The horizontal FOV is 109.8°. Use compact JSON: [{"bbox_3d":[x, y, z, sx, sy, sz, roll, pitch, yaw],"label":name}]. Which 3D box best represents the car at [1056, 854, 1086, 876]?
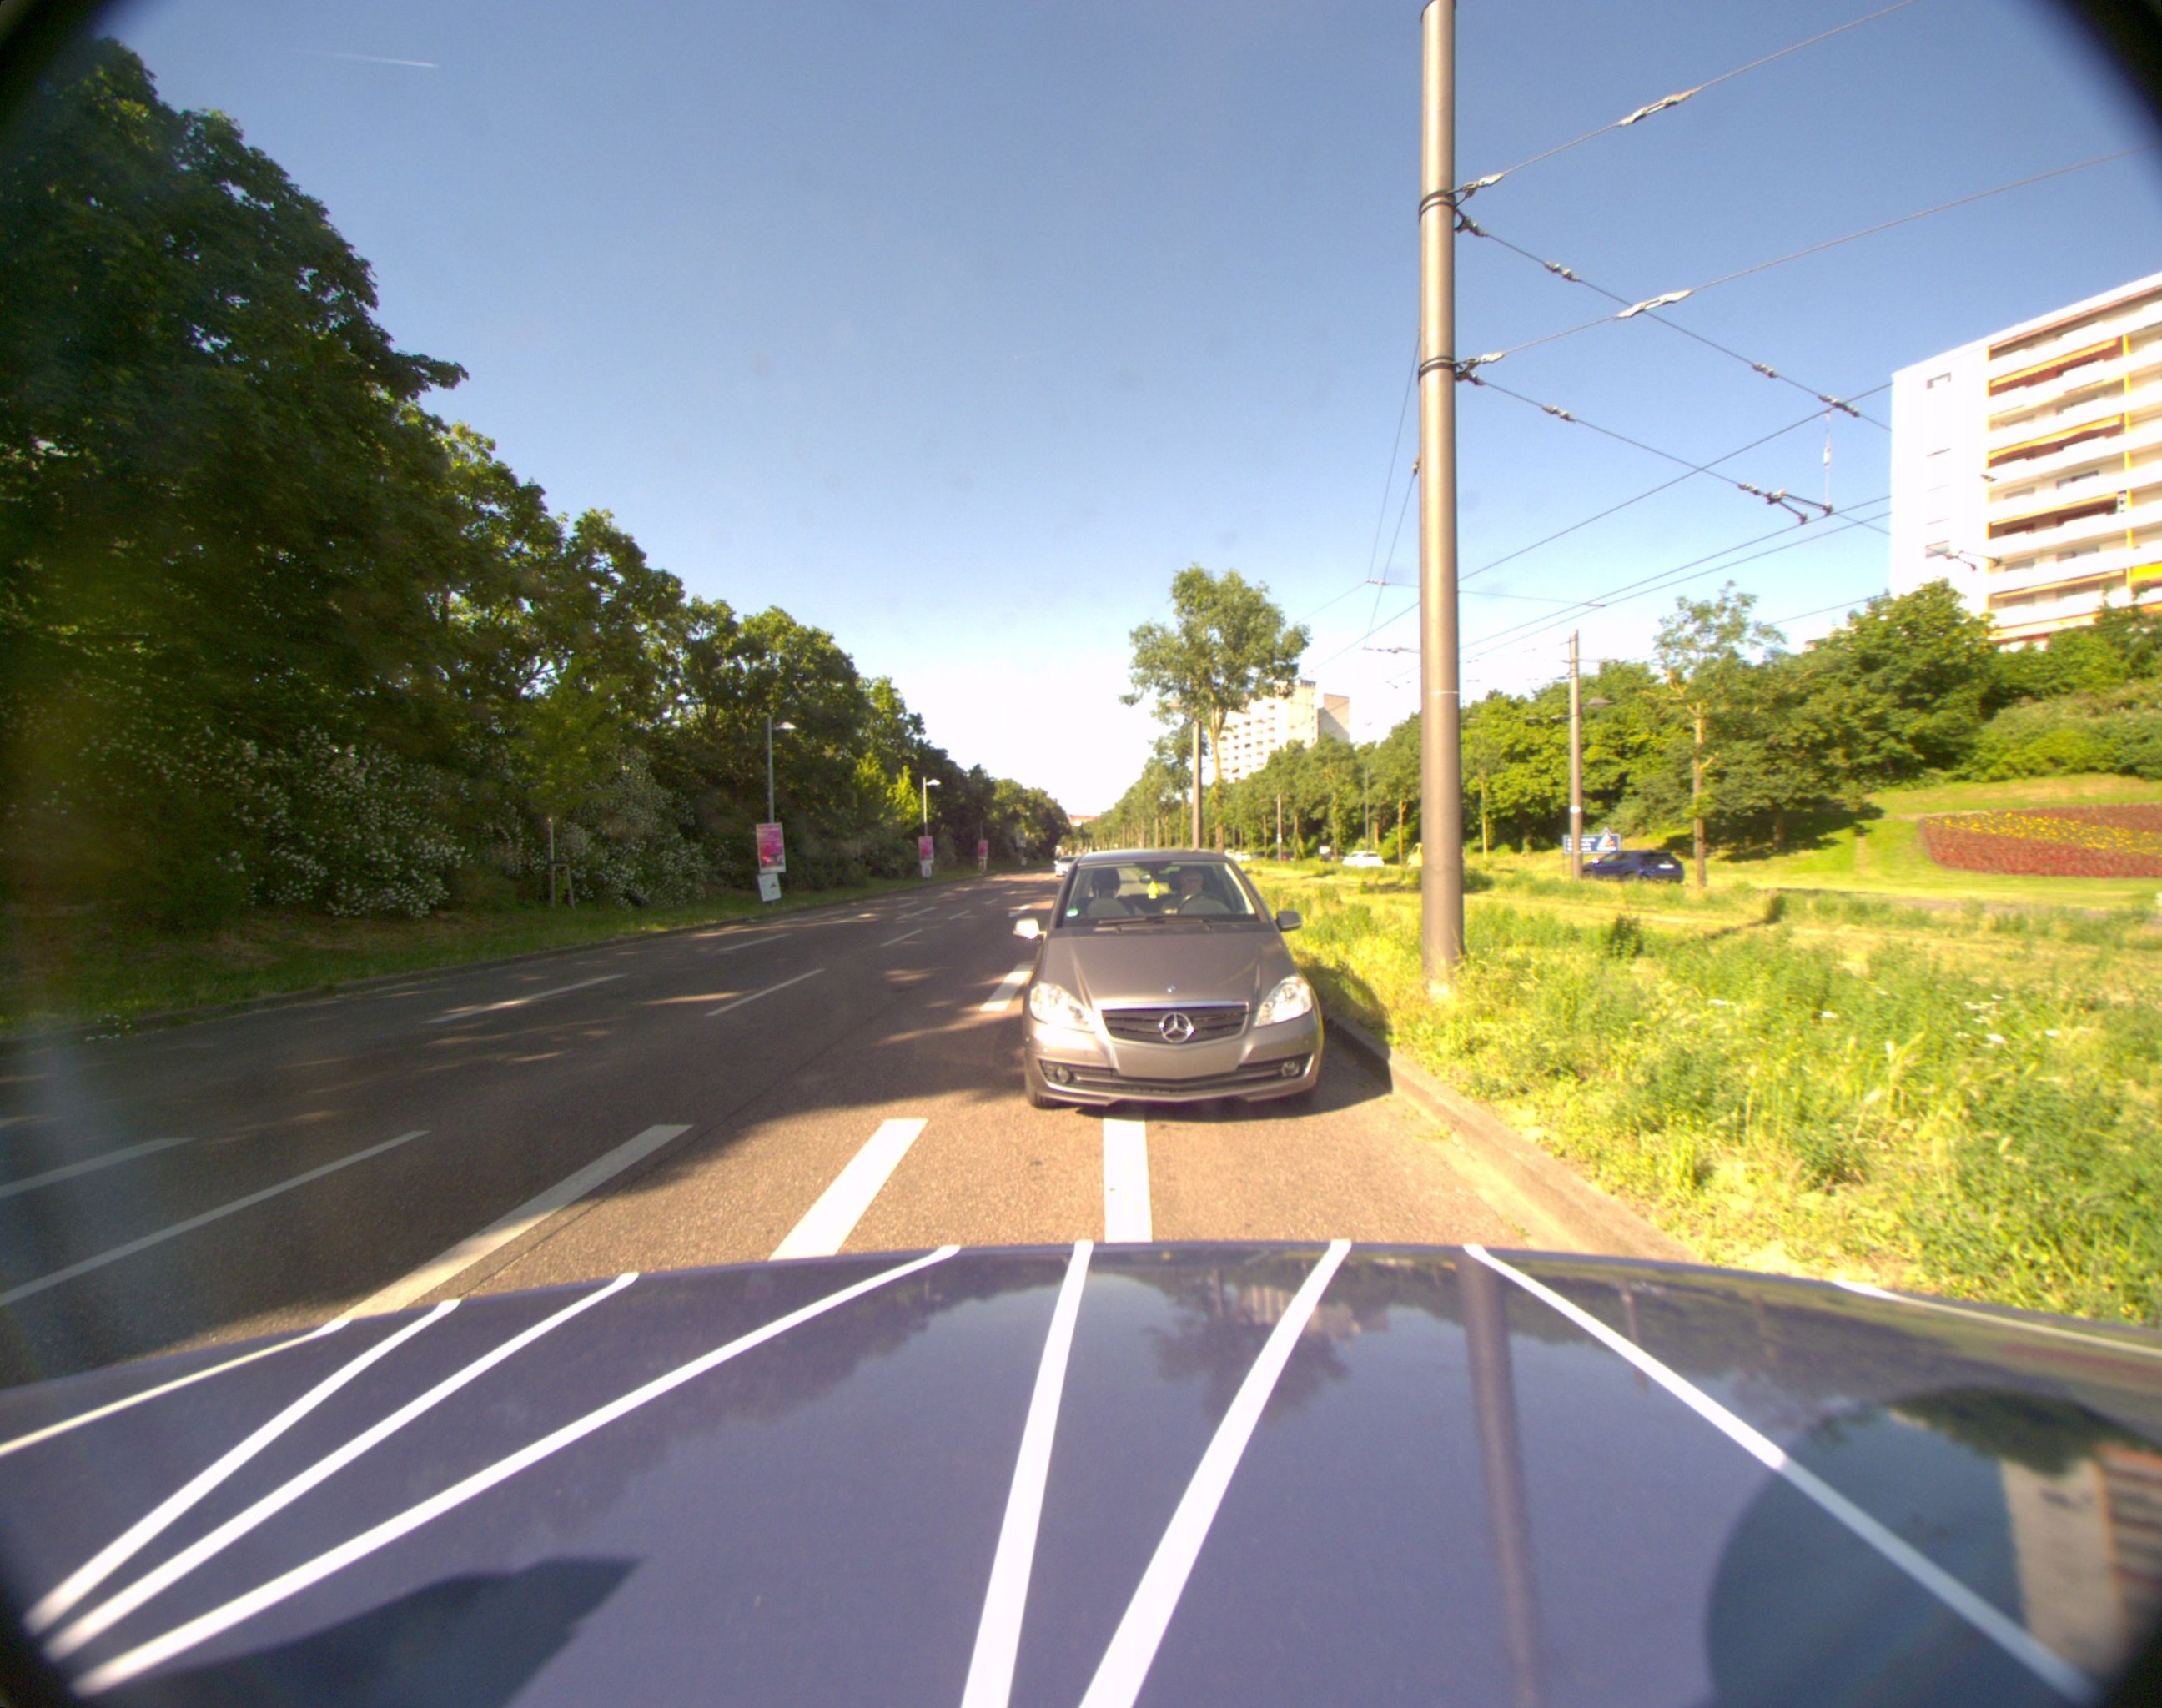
[{"bbox_3d":[-0.675,0.776,54.710,1.875,1.428,4.594,-1,0,2],"label":"car"}]

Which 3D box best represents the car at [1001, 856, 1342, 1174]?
[{"bbox_3d":[0.499,0.853,5.912,1.759,1.612,3.880,-1,0,1],"label":"car"}]

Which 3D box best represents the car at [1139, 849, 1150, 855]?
[{"bbox_3d":[16.400,-0.544,197.174,1.911,1.652,3.996,-1,0,-11],"label":"car"}]

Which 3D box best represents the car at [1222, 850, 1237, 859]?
[{"bbox_3d":[22.196,0.069,113.806,1.740,1.368,4.001,-1,0,4],"label":"car"}]

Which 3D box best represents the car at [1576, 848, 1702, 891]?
[{"bbox_3d":[21.990,0.566,30.173,1.998,1.565,4.107,-1,0,1],"label":"car"}]

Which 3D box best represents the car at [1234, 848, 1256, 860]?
[{"bbox_3d":[19.921,-0.019,92.393,1.867,1.410,4.000,-1,0,3],"label":"car"}]

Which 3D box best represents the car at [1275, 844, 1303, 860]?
[{"bbox_3d":[19.765,-0.210,72.346,1.798,1.408,4.312,-2,0,5],"label":"car"}]

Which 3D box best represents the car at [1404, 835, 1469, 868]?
[{"bbox_3d":[22.728,-0.137,48.810,1.998,1.955,4.907,1,0,1],"label":"car"}]

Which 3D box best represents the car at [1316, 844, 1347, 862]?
[{"bbox_3d":[22.776,-0.085,69.140,1.791,1.499,4.242,-1,0,6],"label":"car"}]

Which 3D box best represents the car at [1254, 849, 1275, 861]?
[{"bbox_3d":[22.541,0.094,93.453,1.867,1.410,4.000,-1,0,2],"label":"car"}]

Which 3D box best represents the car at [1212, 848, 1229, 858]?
[{"bbox_3d":[19.791,-0.116,107.877,1.825,1.353,4.230,-1,0,3],"label":"car"}]

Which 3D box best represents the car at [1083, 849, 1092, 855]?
[{"bbox_3d":[2.347,-0.601,257.903,1.944,2.002,3.994,-1,0,-17],"label":"car"}]

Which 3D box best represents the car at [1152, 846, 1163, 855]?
[{"bbox_3d":[16.264,-0.712,161.739,1.882,1.755,4.000,-1,0,1],"label":"car"}]

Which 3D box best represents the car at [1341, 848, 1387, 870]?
[{"bbox_3d":[19.379,0.367,52.153,1.693,1.398,4.022,-2,0,1],"label":"car"}]

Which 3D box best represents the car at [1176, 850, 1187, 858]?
[{"bbox_3d":[20.152,-0.041,152.259,1.802,1.455,4.000,-1,0,1],"label":"car"}]

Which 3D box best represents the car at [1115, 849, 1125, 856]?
[{"bbox_3d":[11.147,-0.508,218.453,2.000,2.002,3.996,-1,0,-11],"label":"car"}]
